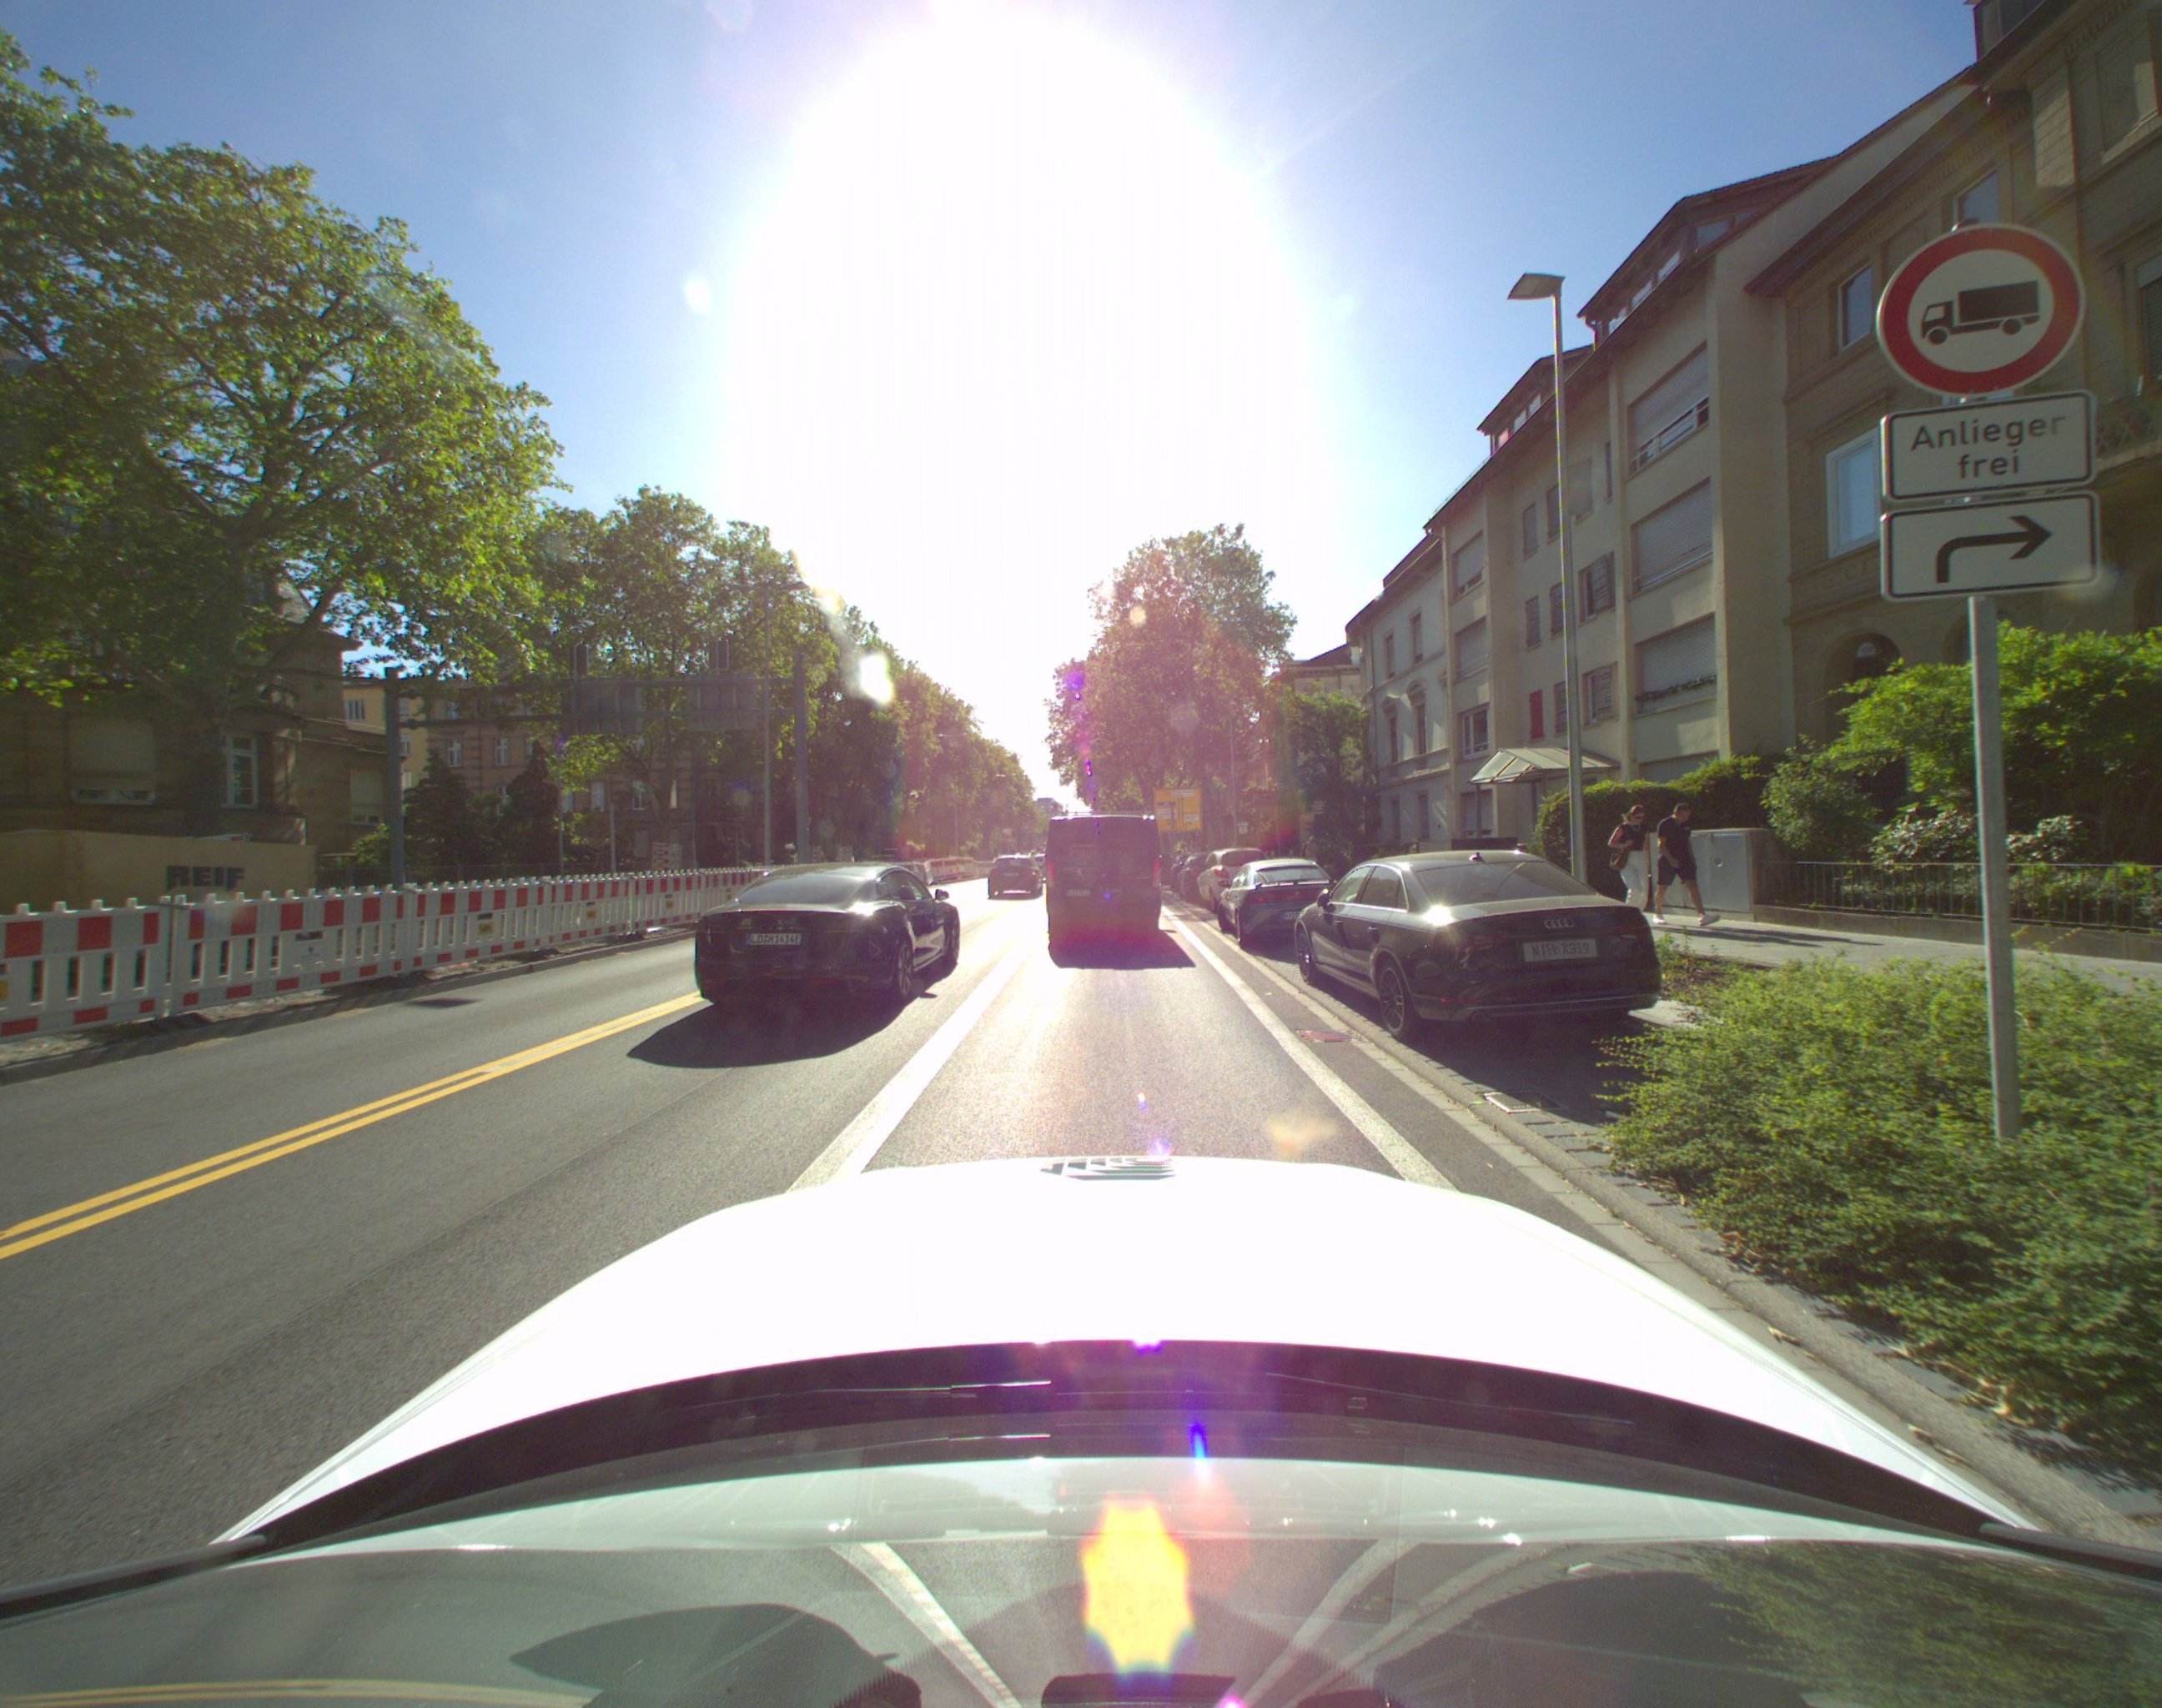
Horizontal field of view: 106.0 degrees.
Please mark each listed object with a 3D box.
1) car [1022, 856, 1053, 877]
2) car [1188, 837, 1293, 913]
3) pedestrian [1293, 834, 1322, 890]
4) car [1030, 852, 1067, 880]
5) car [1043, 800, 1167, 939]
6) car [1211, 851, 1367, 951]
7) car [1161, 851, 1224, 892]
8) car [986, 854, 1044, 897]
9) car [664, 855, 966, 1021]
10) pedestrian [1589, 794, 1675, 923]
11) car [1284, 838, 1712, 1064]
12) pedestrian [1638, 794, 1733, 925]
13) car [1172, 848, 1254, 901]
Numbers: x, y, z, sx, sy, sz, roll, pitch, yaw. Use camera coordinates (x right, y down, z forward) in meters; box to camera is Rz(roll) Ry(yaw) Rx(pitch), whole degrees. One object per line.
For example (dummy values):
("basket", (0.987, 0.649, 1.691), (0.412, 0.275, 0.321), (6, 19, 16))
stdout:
("car", (-3.218, 0.914, 61.146), (1.986, 1.469, 4.003), (0, 1, 2))
("car", (3.917, 0.492, 20.643), (1.838, 1.644, 3.800), (-3, 0, 0))
("pedestrian", (8.508, 0.289, 30.585), (0.794, 2.013, 1.170), (-2, 0, 6))
("car", (-1.686, 0.612, 43.135), (1.541, 1.425, 3.559), (-2, 0, 4))
("car", (0.433, 0.245, 15.900), (2.088, 2.355, 3.933), (-1, 1, 0))
("car", (3.358, 0.688, 13.862), (1.836, 1.408, 3.804), (-2, 0, 3))
("car", (4.219, 0.645, 31.321), (1.838, 1.411, 3.800), (-2, 0, 0))
("car", (-2.277, 0.713, 28.969), (1.740, 1.407, 3.999), (0, 0, 0))
("car", (-2.714, 0.757, 9.621), (1.918, 1.412, 4.627), (1, 1, 1))
("pedestrian", (7.900, 0.064, 11.715), (0.671, 1.755, 0.877), (-2, 0, 11))
("car", (3.342, 0.651, 7.689), (1.837, 1.442, 4.489), (-2, 0, 2))
("pedestrian", (8.524, 0.076, 11.531), (0.650, 1.755, 1.016), (-2, 0, 11))
("car", (3.889, 0.581, 24.592), (1.838, 1.408, 3.800), (-2, 0, 0))
